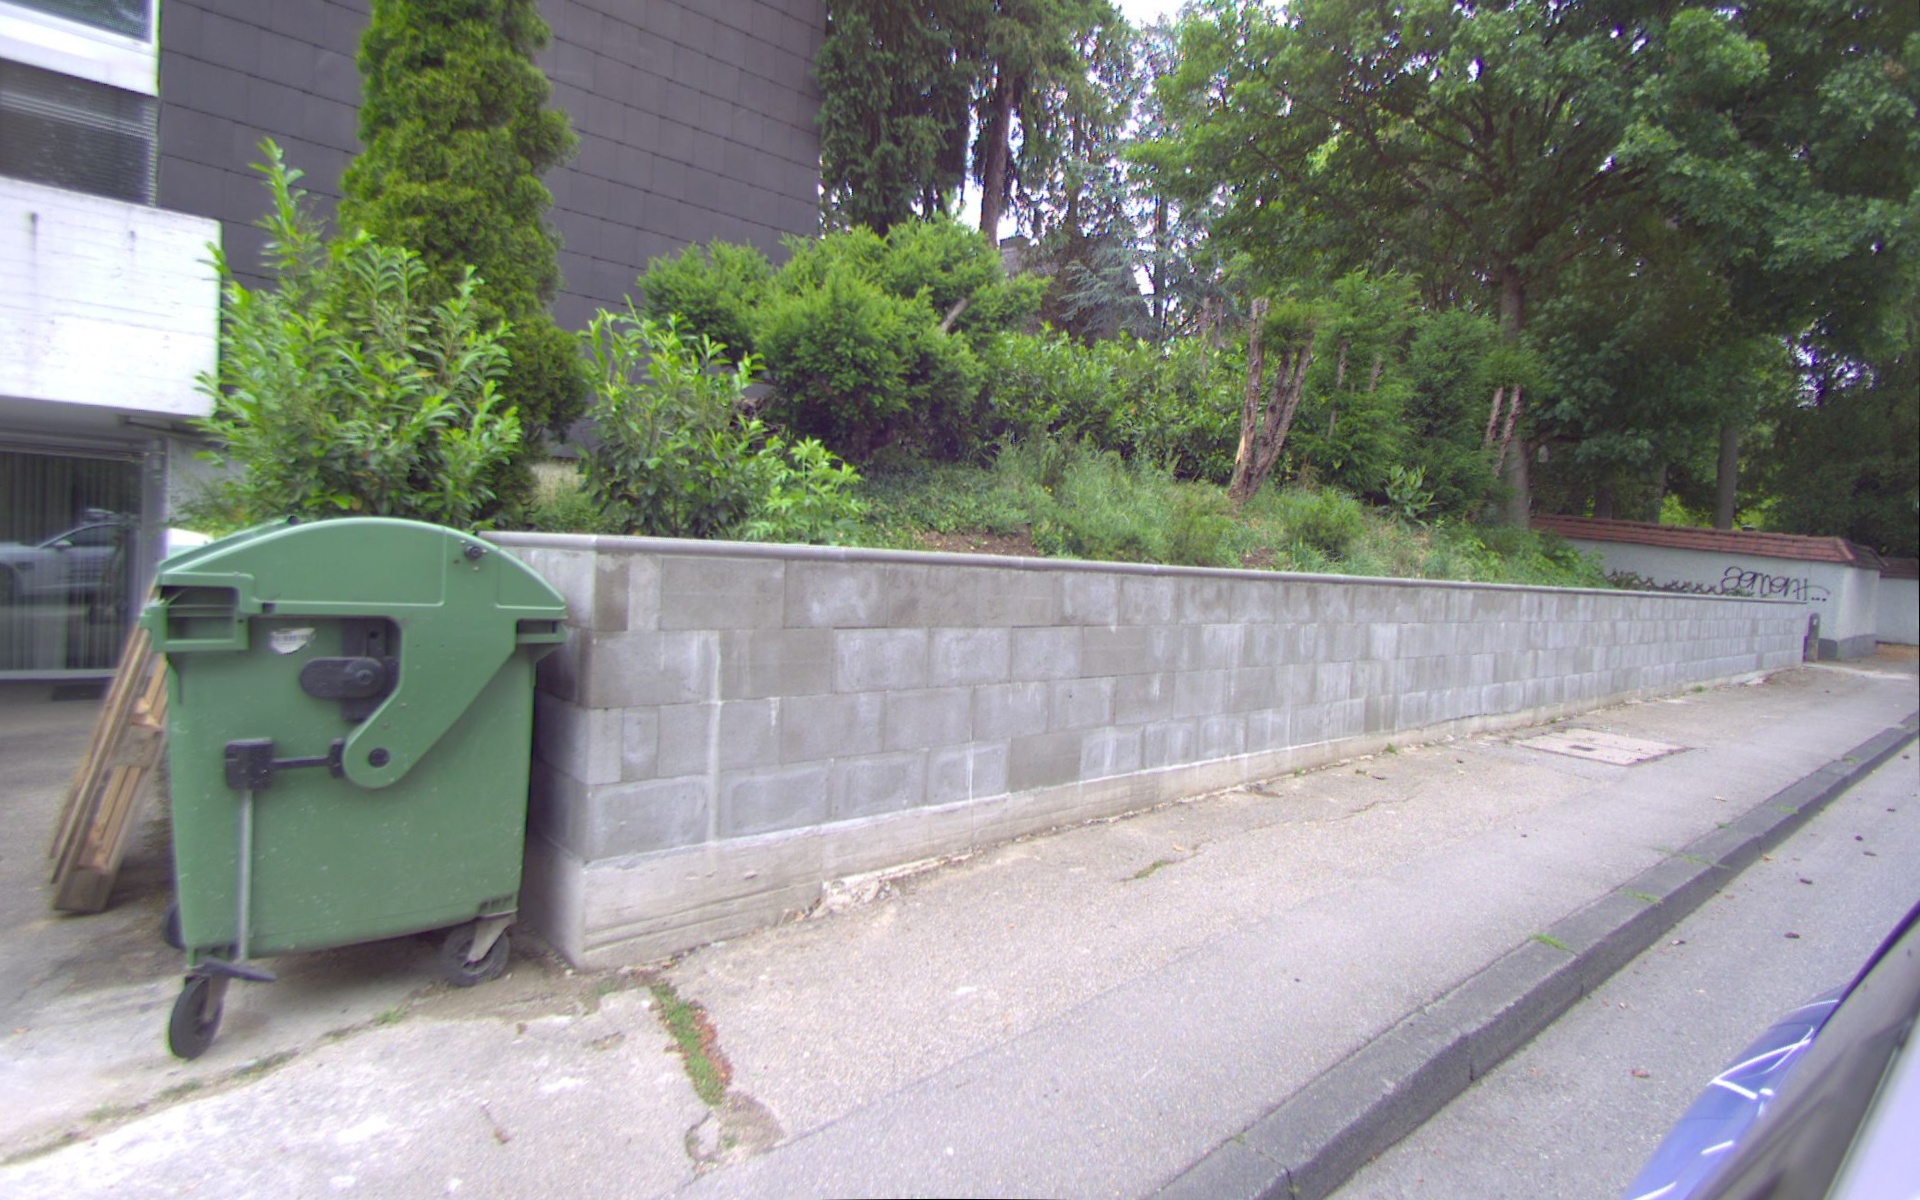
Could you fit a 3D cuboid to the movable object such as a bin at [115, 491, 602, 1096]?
[{"bbox_3d":[-2.001,0.421,3.304,1.160,1.468,1.303,0,4,-40],"label":"movable object such as a bin"}]
